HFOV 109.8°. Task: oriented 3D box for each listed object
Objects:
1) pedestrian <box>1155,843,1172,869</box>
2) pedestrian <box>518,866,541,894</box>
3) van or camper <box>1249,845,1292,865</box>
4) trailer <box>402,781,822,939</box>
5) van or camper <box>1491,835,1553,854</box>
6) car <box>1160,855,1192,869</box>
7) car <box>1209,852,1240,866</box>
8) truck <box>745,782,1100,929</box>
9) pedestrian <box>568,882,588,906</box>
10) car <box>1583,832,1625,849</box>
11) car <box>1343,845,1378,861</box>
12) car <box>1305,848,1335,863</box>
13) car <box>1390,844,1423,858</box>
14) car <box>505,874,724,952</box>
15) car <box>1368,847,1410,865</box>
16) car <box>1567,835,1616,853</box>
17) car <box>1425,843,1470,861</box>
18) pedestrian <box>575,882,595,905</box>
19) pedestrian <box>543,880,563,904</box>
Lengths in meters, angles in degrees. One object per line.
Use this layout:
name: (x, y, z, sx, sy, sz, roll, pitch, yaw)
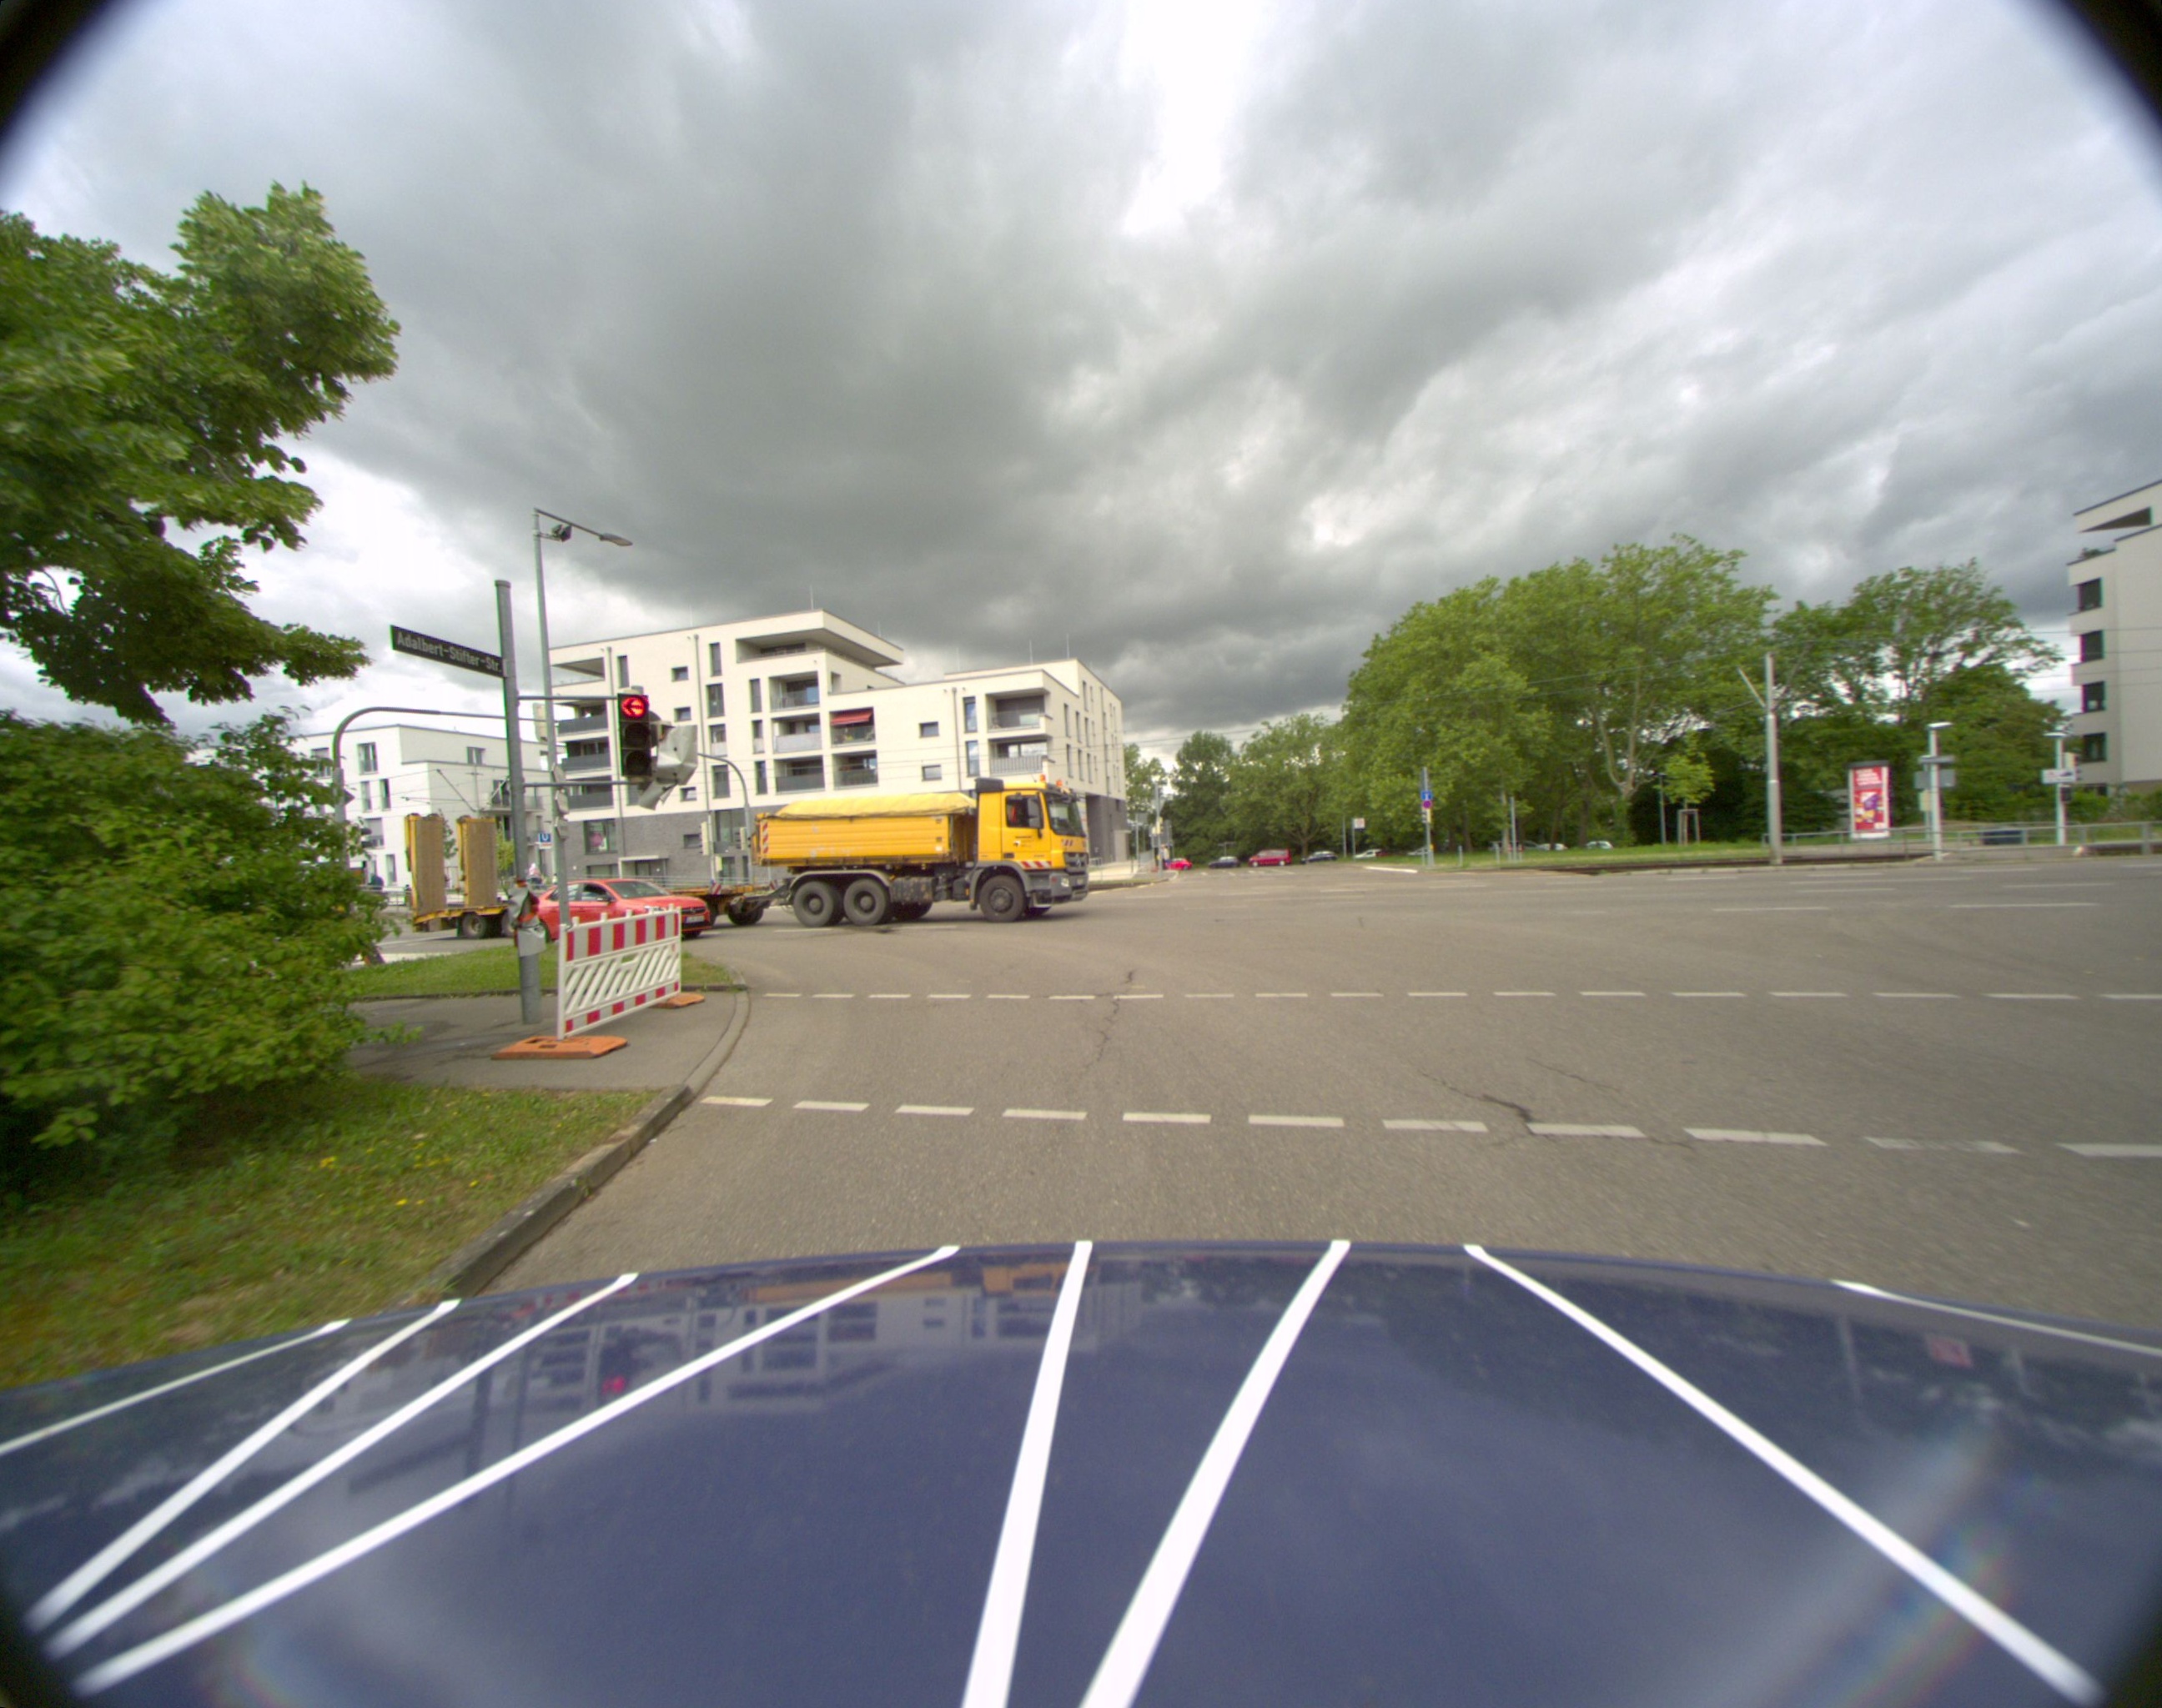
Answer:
pedestrian: (5.381, 0.140, 49.601, 0.991, 1.660, 0.856, -2, 1, 7)
pedestrian: (-34.097, 1.613, 46.996, 0.764, 1.677, 0.716, -3, 0, 13)
van or camper: (21.983, 0.110, 88.111, 4.550, 2.013, 2.050, -3, 0, 20)
trailer: (-12.671, 0.271, 20.505, 10.894, 3.501, 2.718, -3, 1, 15)
van or camper: (43.587, -0.931, 75.205, 4.998, 1.524, 1.866, -3, 0, 14)
car: (11.404, 0.919, 91.244, 3.537, 1.490, 1.648, -3, 0, 14)
car: (16.922, 0.578, 89.670, 3.263, 1.493, 1.606, -3, 0, 20)
truck: (-3.697, 0.108, 18.154, 7.764, 2.986, 2.731, -2, 1, 15)
pedestrian: (-31.323, 2.500, 47.319, 0.670, 1.401, 0.716, -3, 0, 13)
car: (58.077, -1.540, 84.383, 3.775, 1.719, 1.668, -2, 1, 36)
car: (31.396, -0.124, 85.311, 3.589, 1.528, 1.876, -3, 0, 20)
car: (27.065, 0.125, 86.046, 3.133, 1.493, 1.606, -3, 0, 20)
car: (35.887, -0.352, 83.811, 3.133, 1.336, 1.449, -3, 0, 20)
car: (-10.136, 1.269, 16.595, 3.993, 1.471, 1.695, -2, 1, 13)
car: (31.781, 0.203, 78.401, 3.779, 1.652, 1.666, -2, 1, 14)
car: (53.342, -1.053, 79.413, 3.804, 1.639, 1.701, -3, 1, 10)
car: (37.308, -0.218, 77.431, 3.779, 1.652, 1.666, -2, 1, 12)
pedestrian: (-31.629, 2.515, 48.485, 0.670, 1.401, 0.716, -3, 0, 13)
pedestrian: (-32.793, 2.360, 47.178, 0.670, 1.401, 0.716, -3, 0, 13)
